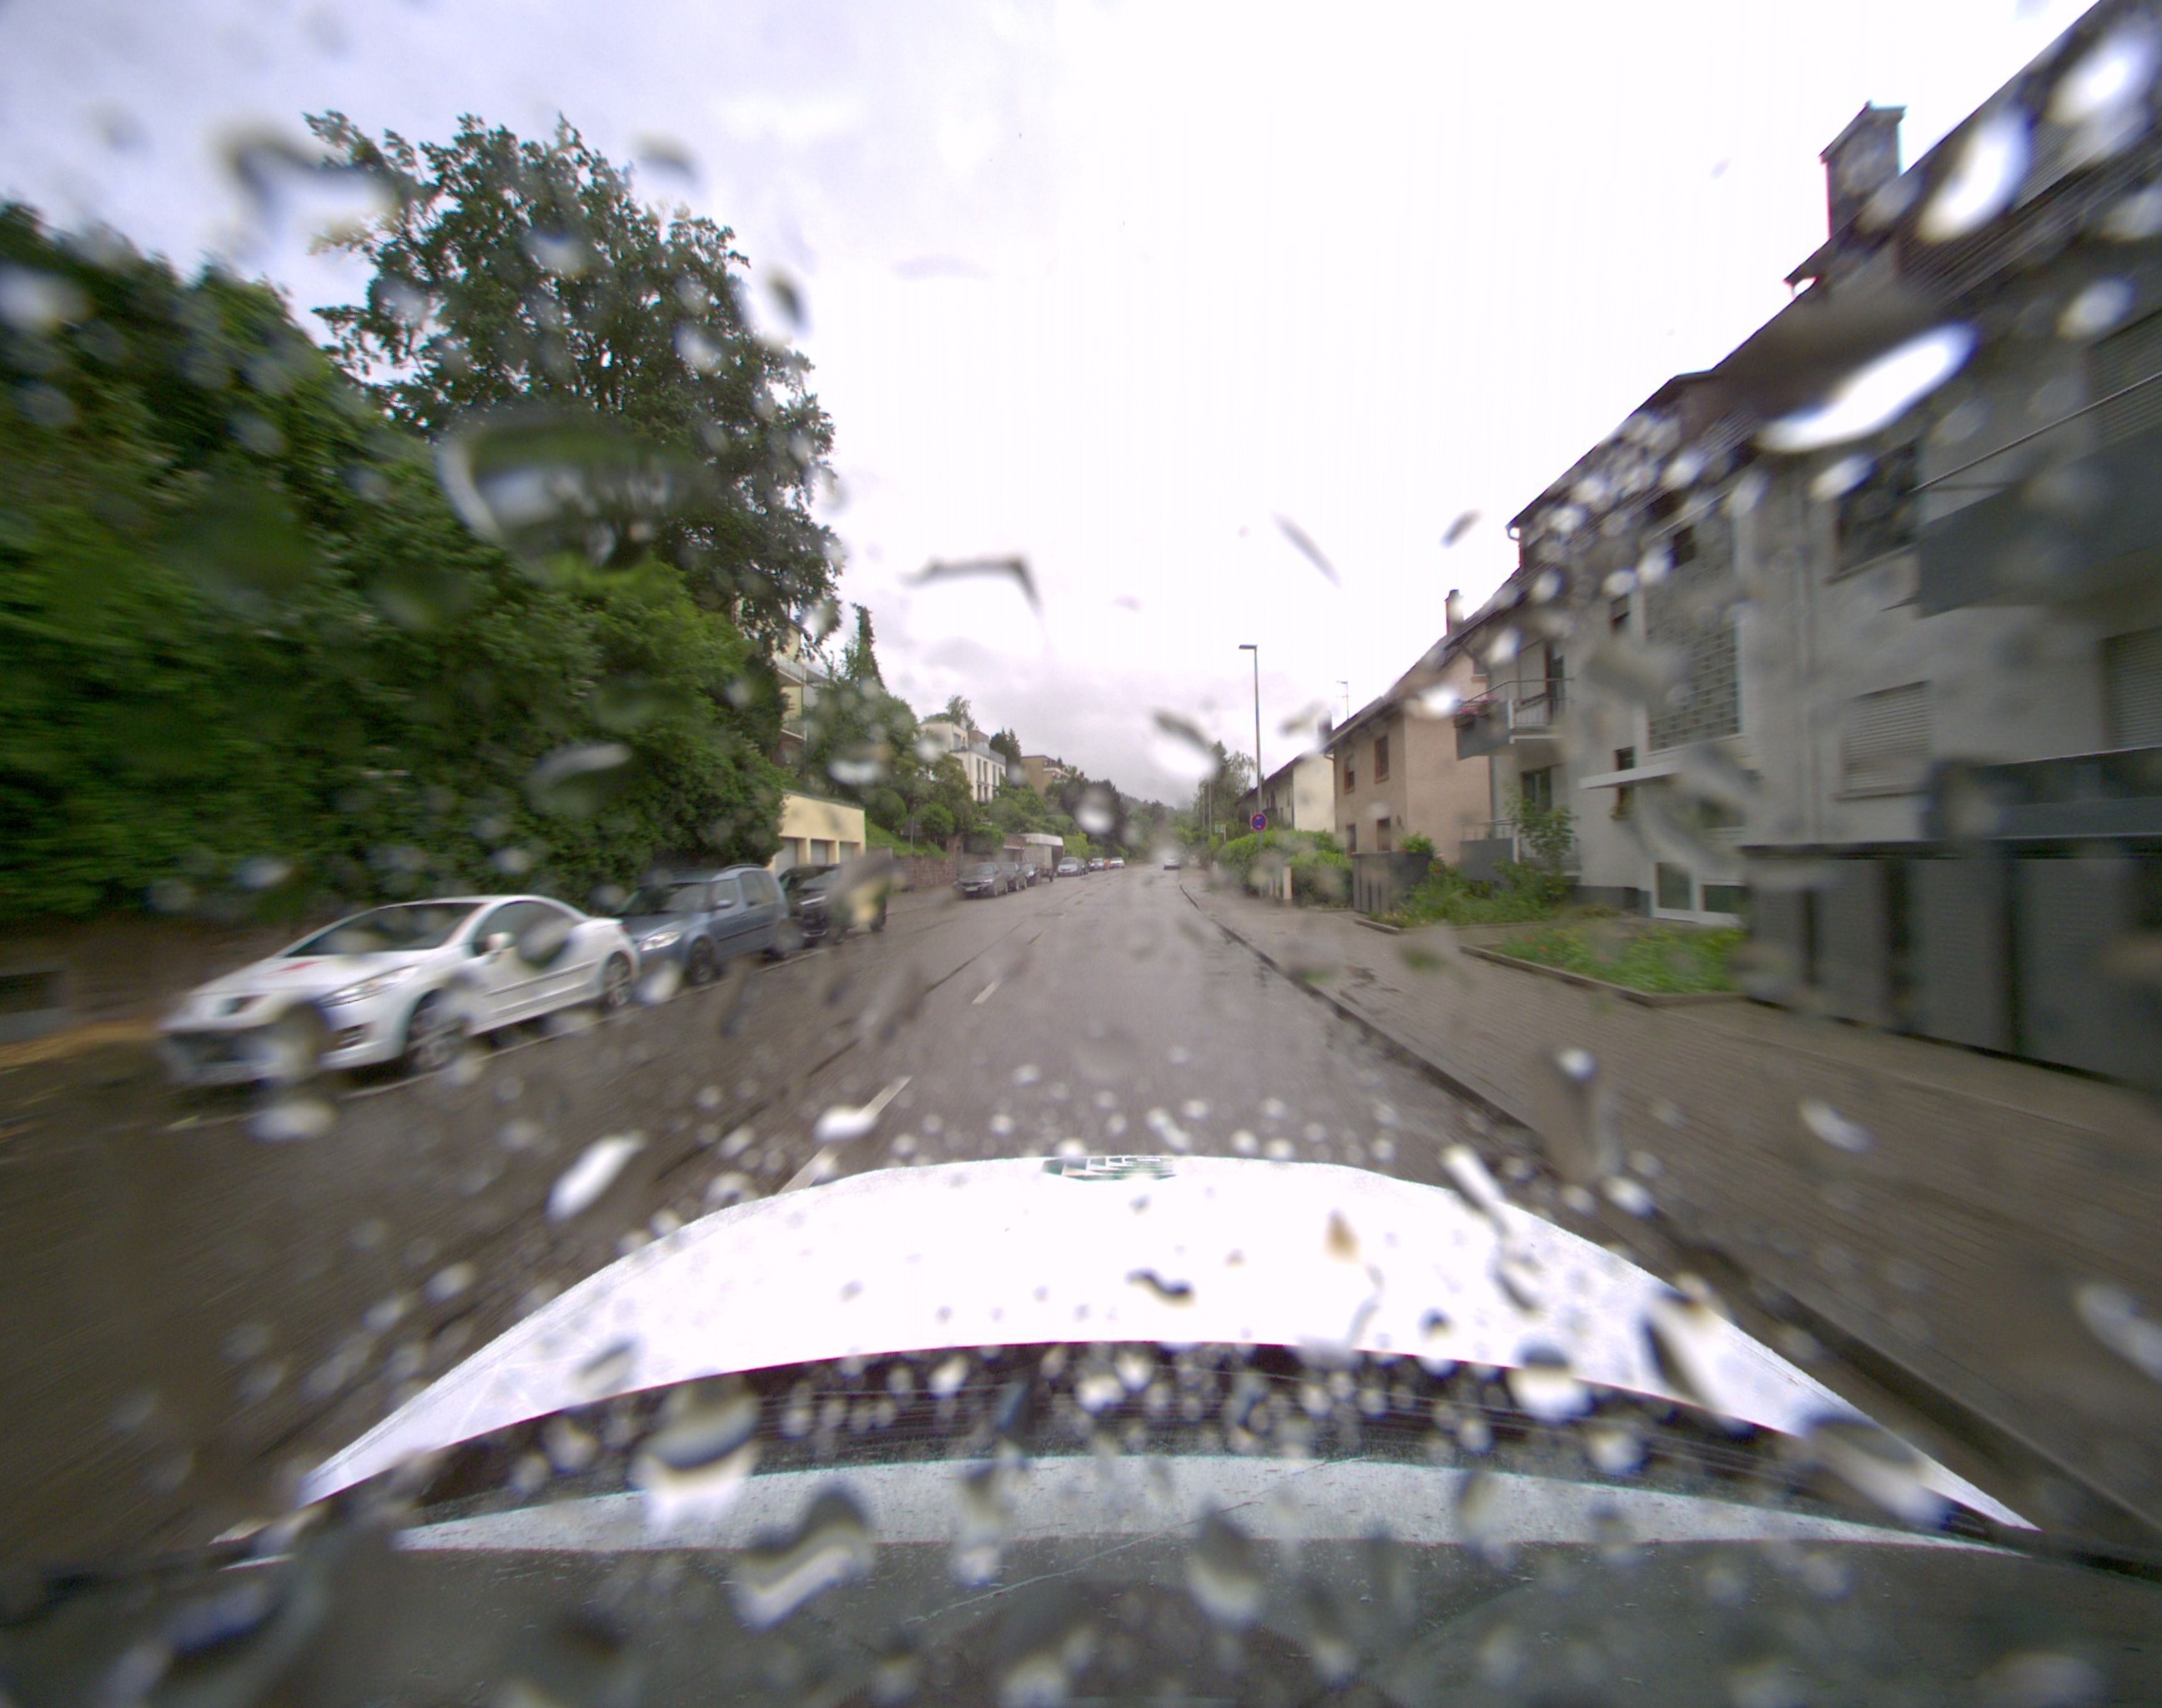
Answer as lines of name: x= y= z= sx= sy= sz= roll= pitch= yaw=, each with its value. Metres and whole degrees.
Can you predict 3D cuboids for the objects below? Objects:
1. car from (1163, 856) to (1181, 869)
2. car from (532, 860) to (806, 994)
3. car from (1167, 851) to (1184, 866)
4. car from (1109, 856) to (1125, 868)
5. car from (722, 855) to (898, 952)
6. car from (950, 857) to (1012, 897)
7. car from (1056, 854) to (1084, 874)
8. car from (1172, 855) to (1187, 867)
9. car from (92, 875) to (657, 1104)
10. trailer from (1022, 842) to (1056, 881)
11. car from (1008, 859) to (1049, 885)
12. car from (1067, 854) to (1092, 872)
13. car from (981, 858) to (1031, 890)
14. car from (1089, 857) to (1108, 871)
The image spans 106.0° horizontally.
car: x=10.132 y=0.933 z=90.367 sx=1.778 sy=1.460 sz=4.320 roll=-1 pitch=0 yaw=10
car: x=-5.932 y=0.946 z=12.379 sx=1.734 sy=1.561 sz=4.114 roll=-4 pitch=0 yaw=4
car: x=11.199 y=0.520 z=96.050 sx=1.774 sy=1.790 sz=4.372 roll=-1 pitch=0 yaw=10
car: x=4.921 y=1.088 z=109.898 sx=1.746 sy=1.498 sz=4.228 roll=-3 pitch=-1 yaw=7
car: x=-5.554 y=0.919 z=17.427 sx=1.866 sy=1.626 sz=4.598 roll=-4 pitch=0 yaw=4
car: x=-4.316 y=0.960 z=35.757 sx=1.778 sy=1.455 sz=4.759 roll=-4 pitch=0 yaw=3
car: x=-0.898 y=0.812 z=68.226 sx=1.747 sy=1.539 sz=3.763 roll=-4 pitch=0 yaw=6
car: x=12.457 y=0.870 z=102.714 sx=1.699 sy=1.403 sz=4.215 roll=-1 pitch=0 yaw=10
car: x=-6.033 y=1.004 z=7.771 sx=1.710 sy=1.365 sz=4.084 roll=-4 pitch=0 yaw=0
trailer: x=-2.738 y=0.464 z=53.803 sx=1.528 sy=2.399 sz=3.080 roll=-3 pitch=0 yaw=8
car: x=-3.062 y=1.054 z=48.062 sx=1.800 sy=1.349 sz=3.781 roll=-3 pitch=0 yaw=4
car: x=-0.094 y=0.765 z=73.689 sx=1.747 sy=1.409 sz=3.711 roll=-4 pitch=0 yaw=6
car: x=-3.749 y=0.999 z=41.466 sx=1.777 sy=1.415 sz=4.223 roll=-3 pitch=0 yaw=4
car: x=1.945 y=1.121 z=90.756 sx=1.747 sy=1.402 sz=3.776 roll=-4 pitch=0 yaw=6
